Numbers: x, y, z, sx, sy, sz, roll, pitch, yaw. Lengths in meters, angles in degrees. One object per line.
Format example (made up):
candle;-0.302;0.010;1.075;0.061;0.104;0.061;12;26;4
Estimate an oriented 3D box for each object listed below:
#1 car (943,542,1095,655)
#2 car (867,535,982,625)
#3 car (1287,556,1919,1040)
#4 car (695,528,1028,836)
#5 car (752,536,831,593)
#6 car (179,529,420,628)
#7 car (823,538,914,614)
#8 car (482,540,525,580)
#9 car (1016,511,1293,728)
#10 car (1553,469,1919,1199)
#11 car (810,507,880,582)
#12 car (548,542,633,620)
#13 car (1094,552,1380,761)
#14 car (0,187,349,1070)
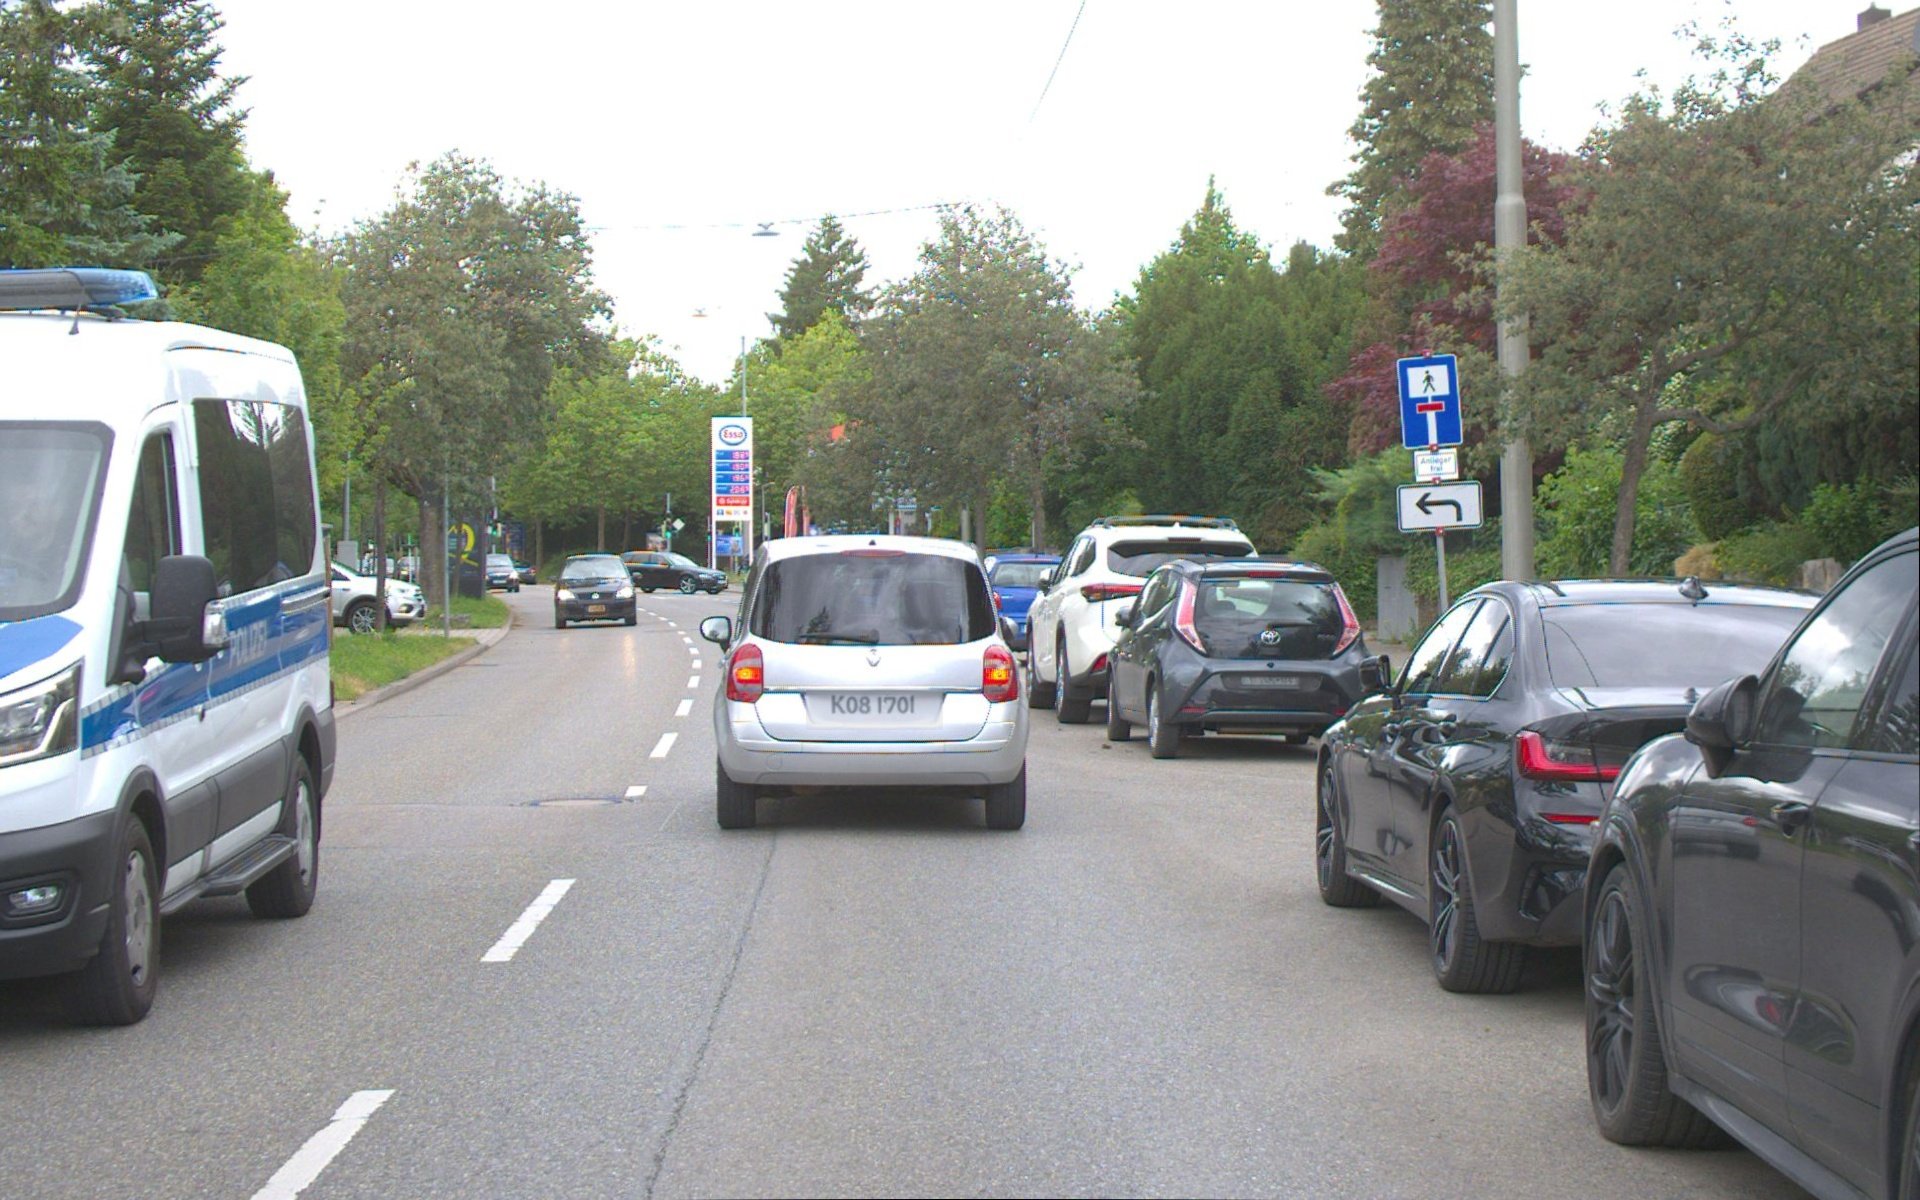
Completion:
car;0.754;-0.052;46.291;1.626;1.447;3.877;0;1;-5
car;-0.672;-0.389;61.970;1.695;1.552;3.956;-1;1;-6
car;2.461;0.593;12.968;1.830;1.452;4.551;1;1;-2
car;-0.533;0.394;19.318;1.679;1.554;3.512;1;1;-1
car;-4.573;-0.969;92.810;1.695;1.501;3.974;0;1;-9
car;-11.857;-0.395;61.916;4.086;1.700;1.748;1;1;-5
car;-1.969;-0.532;72.902;1.695;1.565;3.956;0;1;-5
car;-17.395;-1.539;131.063;1.544;1.465;3.743;0;1;-6
car;1.656;0.123;30.955;1.799;1.772;4.706;1;1;-5
car;2.570;0.600;7.147;1.830;1.706;4.549;0;1;-1
car;-4.636;-2.239;138.011;2.281;2.901;5.280;1;1;-7
car;-7.526;-0.397;70.237;1.574;1.467;3.471;-3;1;-5
car;2.030;0.379;26.071;1.558;1.438;3.507;1;1;-5
car;-3.723;0.074;12.670;2.073;2.573;5.301;-2;1;-2
